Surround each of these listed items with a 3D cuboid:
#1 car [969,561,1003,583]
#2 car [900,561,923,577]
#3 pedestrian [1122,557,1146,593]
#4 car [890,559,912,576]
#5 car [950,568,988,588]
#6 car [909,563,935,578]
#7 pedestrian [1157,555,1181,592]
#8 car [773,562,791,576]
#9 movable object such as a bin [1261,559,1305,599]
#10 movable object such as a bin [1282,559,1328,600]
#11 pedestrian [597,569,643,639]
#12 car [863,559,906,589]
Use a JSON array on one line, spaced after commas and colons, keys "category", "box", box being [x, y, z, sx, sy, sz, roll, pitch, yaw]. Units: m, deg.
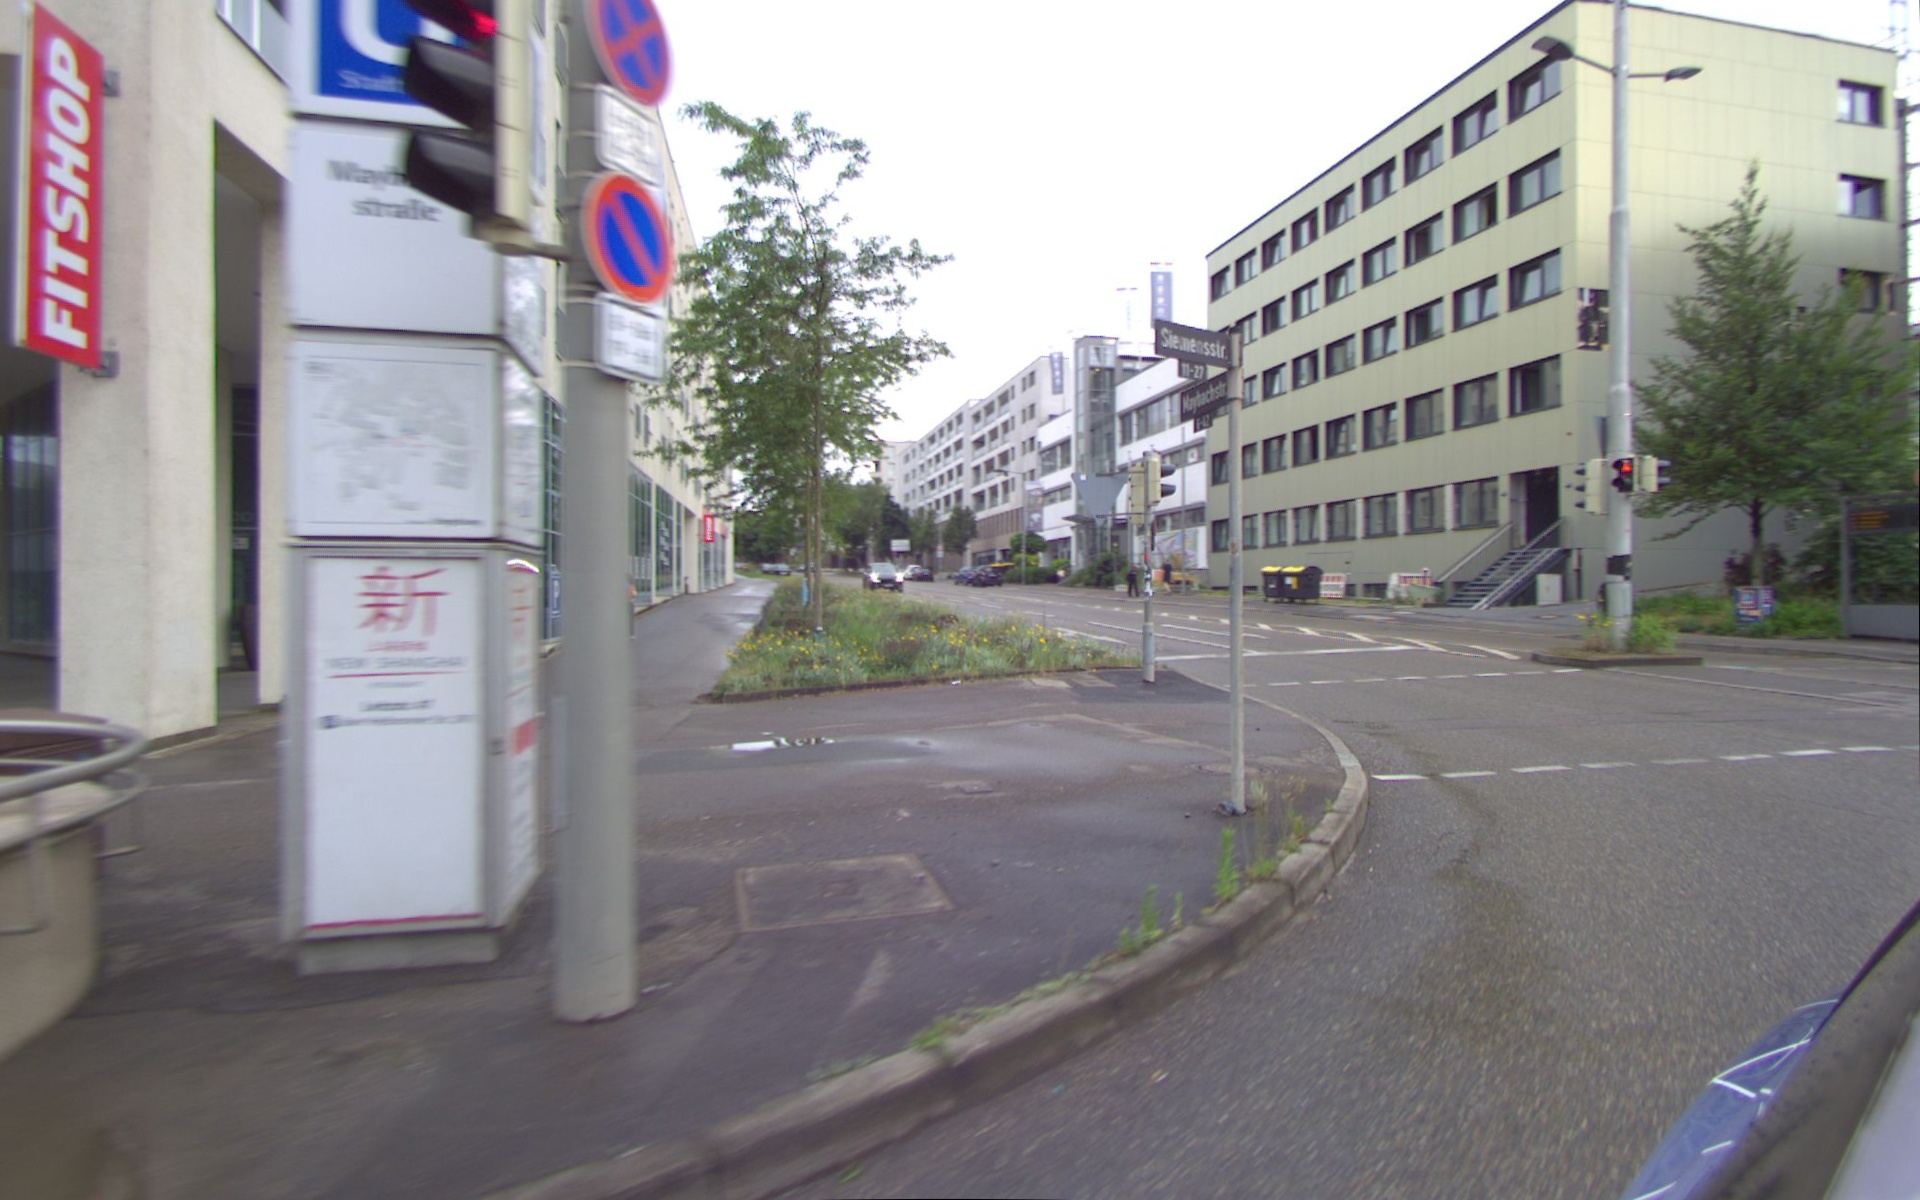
[{"category": "car", "box": [1.866, -2.006, 73.002, 1.487, 1.528, 2.989, 1, 2, -18]}, {"category": "car", "box": [-4.823, -3.070, 100.788, 1.564, 1.486, 3.430, 2, 2, -14]}, {"category": "pedestrian", "box": [8.393, -1.221, 48.868, 0.753, 1.696, 0.971, -3, 2, -12]}, {"category": "car", "box": [-6.170, -3.406, 105.587, 1.597, 1.638, 3.981, 2, 1, -13]}, {"category": "car", "box": [0.660, -1.689, 77.030, 1.626, 1.421, 4.279, -1, 2, -18]}, {"category": "car", "box": [-3.628, -2.800, 96.183, 1.628, 1.408, 3.749, 1, 2, -15]}, {"category": "pedestrian", "box": [10.060, -1.284, 48.679, 0.742, 1.752, 0.944, -3, 2, -11]}, {"category": "car", "box": [-20.941, -3.657, 118.727, 1.959, 1.504, 4.009, -3, 3, -11]}, {"category": "movable object such as a bin", "box": [12.647, -0.850, 39.682, 1.036, 1.462, 1.433, -3, 3, -11]}, {"category": "movable object such as a bin", "box": [12.994, -0.797, 38.164, 1.036, 1.462, 1.361, -3, 3, -11]}, {"category": "pedestrian", "box": [-8.759, 0.096, 26.116, 0.857, 1.733, 1.089, -2, 1, -7]}, {"category": "car", "box": [-4.426, -1.526, 58.735, 1.959, 1.593, 4.009, -3, 3, -11]}]
